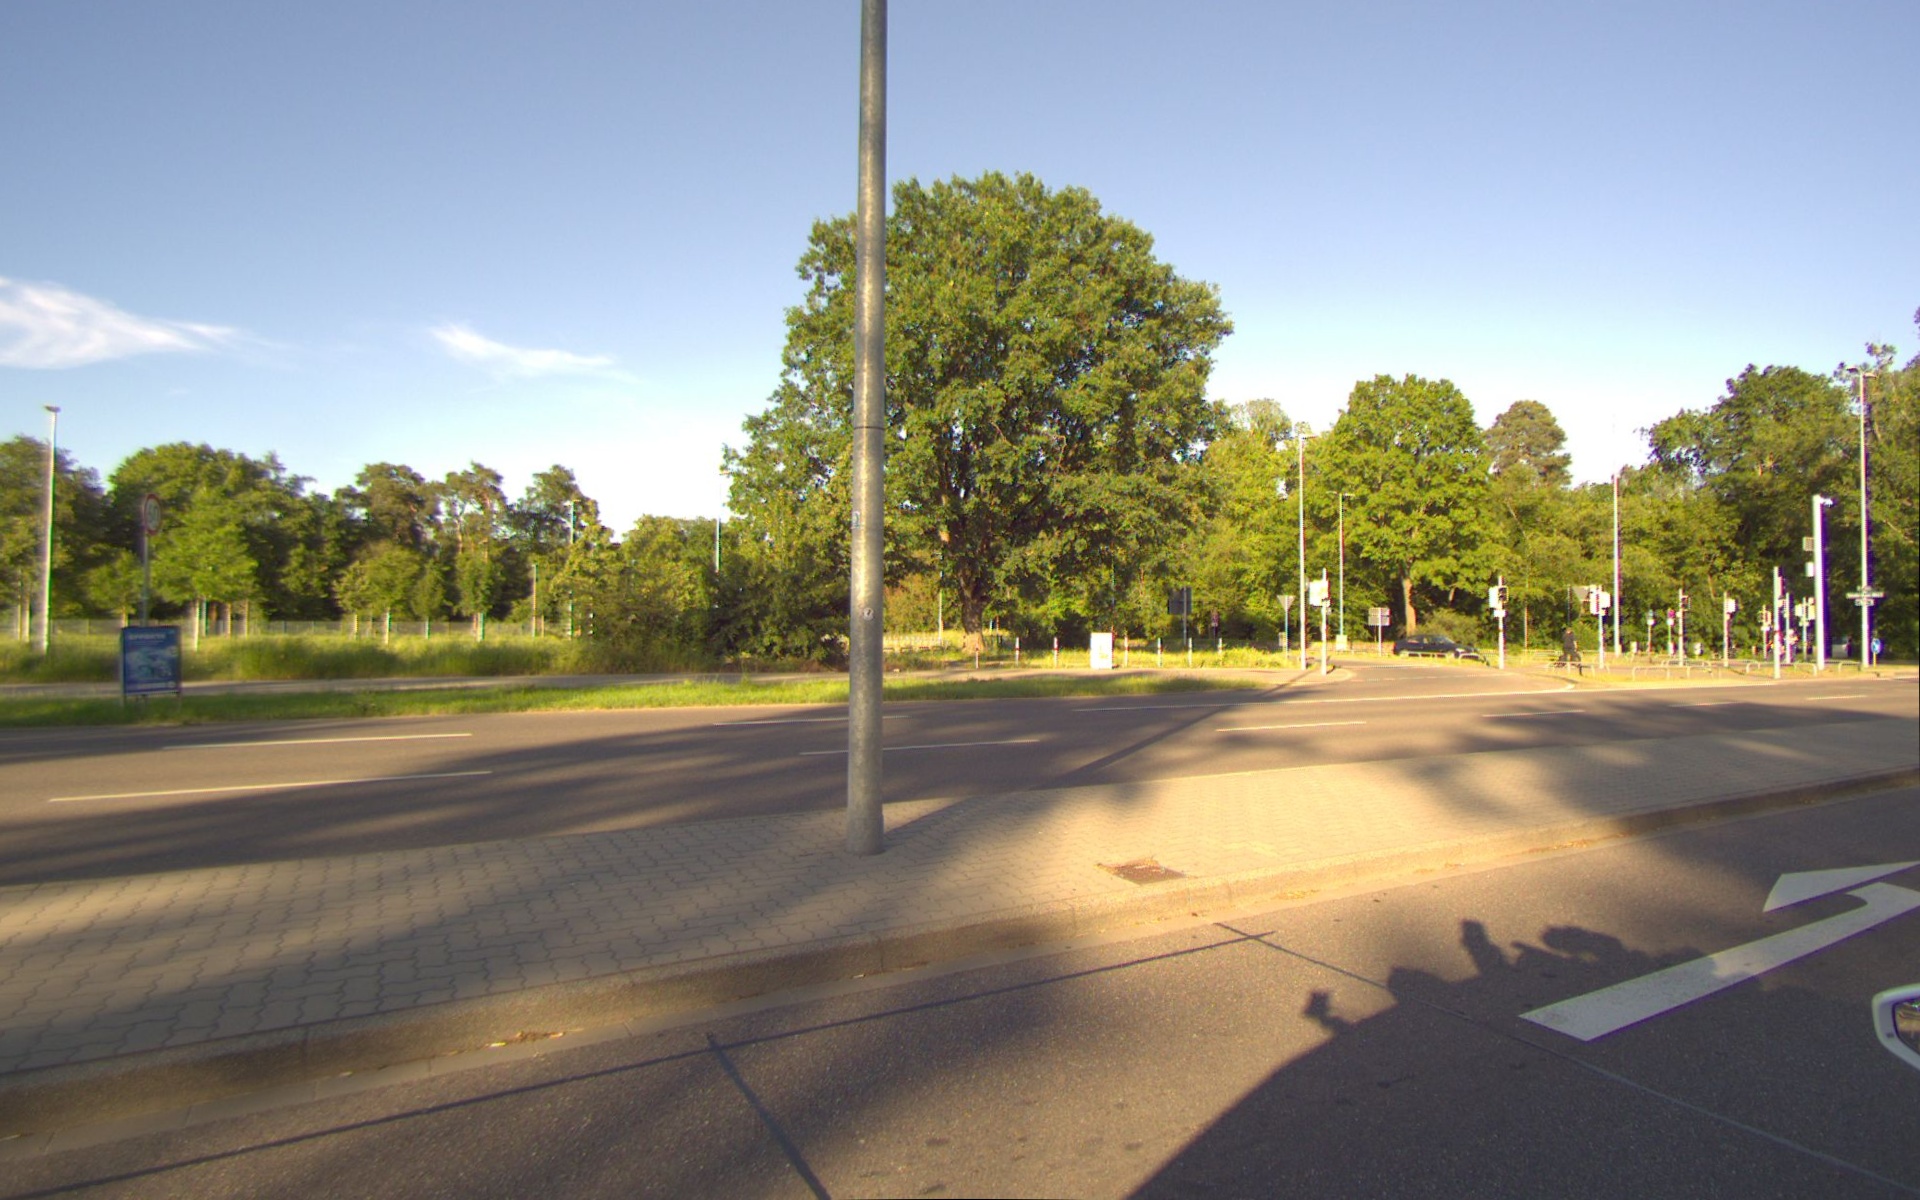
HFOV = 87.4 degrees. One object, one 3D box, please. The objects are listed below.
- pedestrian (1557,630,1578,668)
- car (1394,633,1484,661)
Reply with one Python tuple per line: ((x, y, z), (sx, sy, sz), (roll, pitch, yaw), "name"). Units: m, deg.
((25.726, 2.066, 42.545), (0.636, 1.580, 0.539), (0, -2, 18), "pedestrian")
((25.009, 2.432, 52.571), (1.728, 1.405, 4.092), (1, -2, -24), "car")
